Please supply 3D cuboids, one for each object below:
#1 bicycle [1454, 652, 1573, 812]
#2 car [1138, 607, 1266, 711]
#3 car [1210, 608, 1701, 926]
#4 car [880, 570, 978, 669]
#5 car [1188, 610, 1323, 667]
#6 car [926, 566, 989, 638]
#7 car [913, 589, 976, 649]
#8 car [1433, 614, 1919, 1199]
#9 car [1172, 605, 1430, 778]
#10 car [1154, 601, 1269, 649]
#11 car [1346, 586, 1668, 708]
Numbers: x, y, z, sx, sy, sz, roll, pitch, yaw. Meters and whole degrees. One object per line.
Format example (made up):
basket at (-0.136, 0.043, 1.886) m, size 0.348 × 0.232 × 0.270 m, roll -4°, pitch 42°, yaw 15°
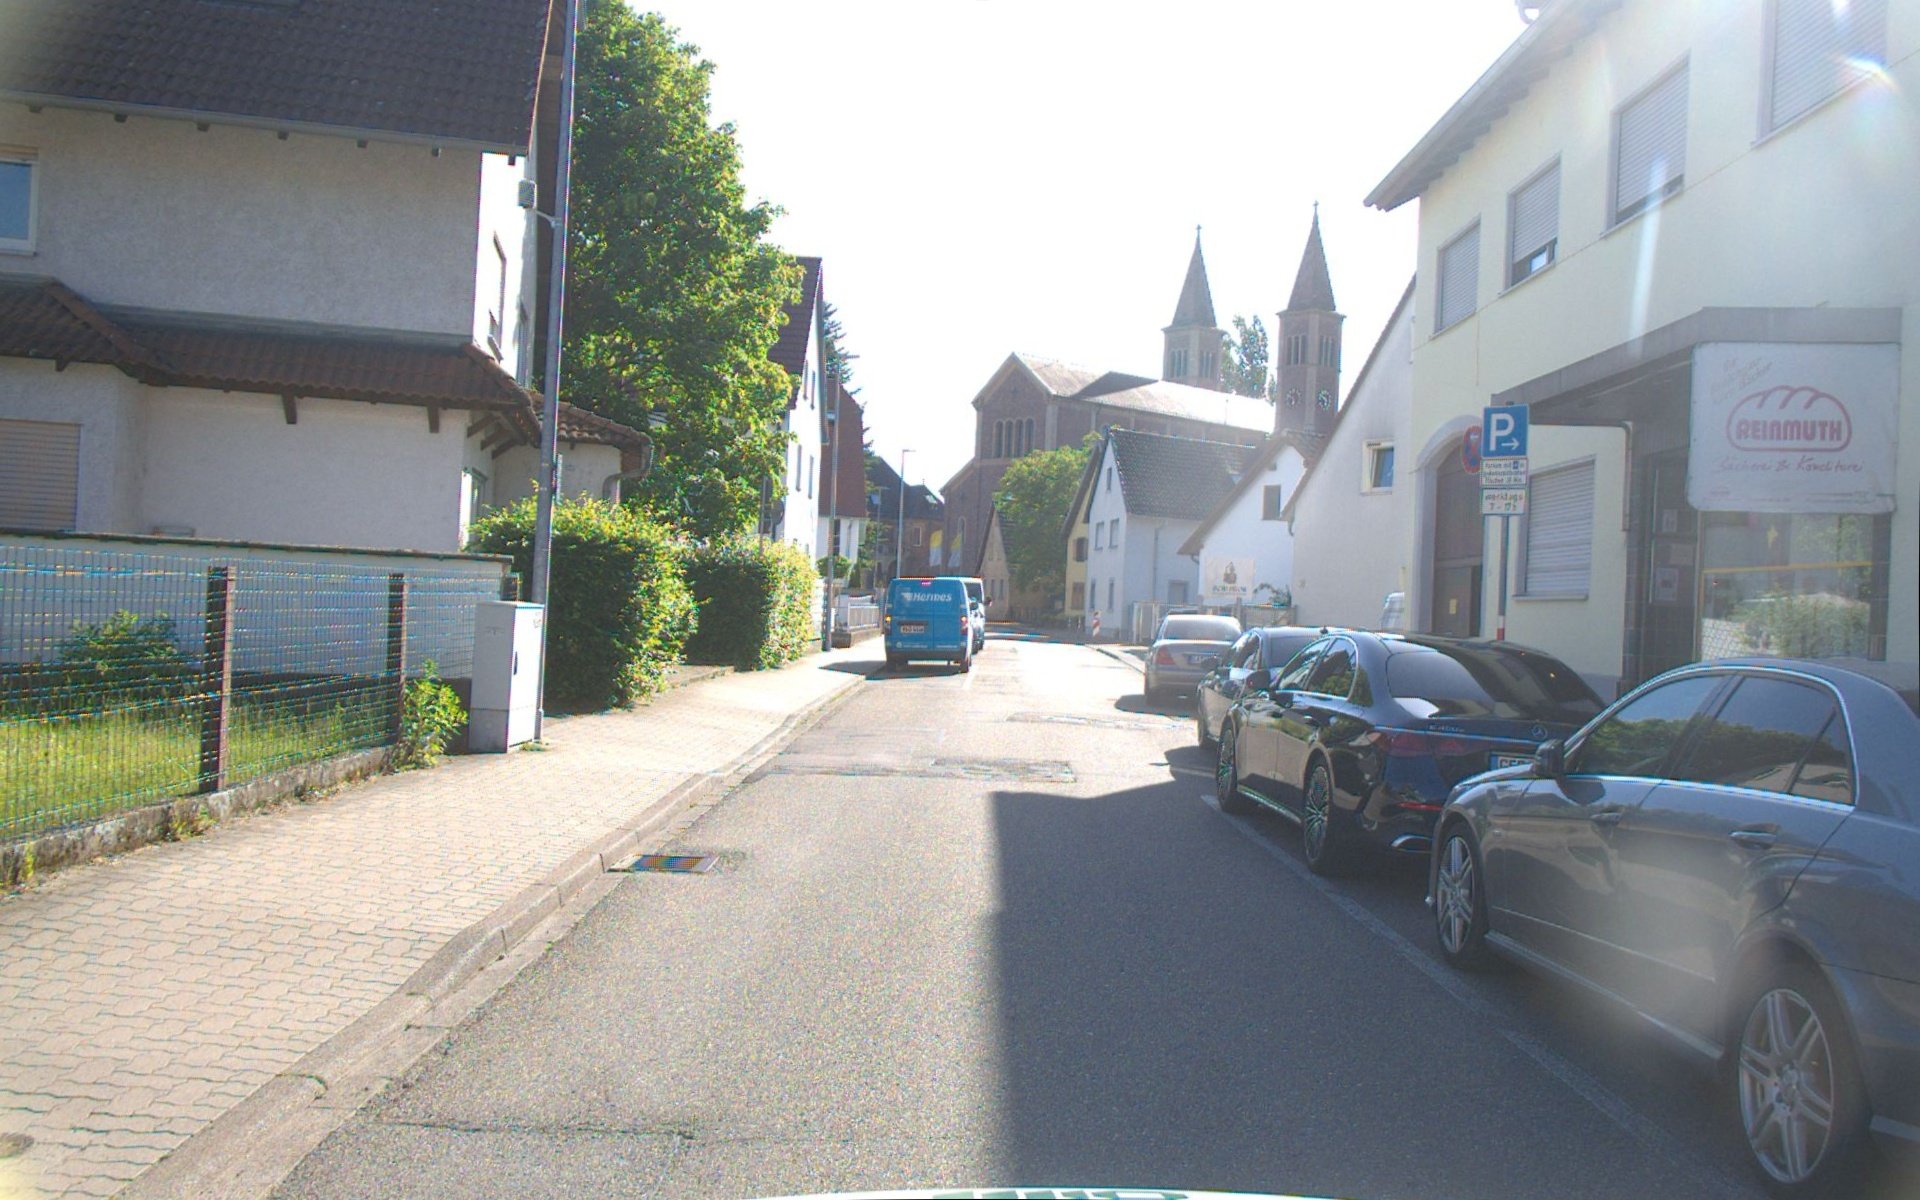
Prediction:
bicycle at (4.493, 1.041, 13.504) m, size 0.497 × 1.178 × 1.508 m, roll 1°, pitch 0°, yaw 2°
car at (3.978, 0.919, 27.837) m, size 1.773 × 1.501 × 4.662 m, roll 3°, pitch 0°, yaw 5°
car at (2.953, 0.884, 11.057) m, size 1.771 × 1.501 × 4.844 m, roll 4°, pitch 0°, yaw 0°
car at (-0.605, 0.390, 35.910) m, size 1.863 × 1.951 × 5.071 m, roll 1°, pitch 0°, yaw 1°
car at (9.665, 1.263, 54.102) m, size 3.988 × 1.718 × 1.895 m, roll 2°, pitch 0°, yaw -27°
car at (-0.041, 0.069, 59.961) m, size 2.151 × 2.432 × 6.065 m, roll 1°, pitch 0°, yaw 1°
car at (-0.406, 0.532, 48.080) m, size 1.679 × 1.626 × 3.925 m, roll 2°, pitch 0°, yaw 1°
car at (3.141, 0.883, 5.458) m, size 1.772 × 1.501 × 4.444 m, roll 4°, pitch 0°, yaw -1°
car at (3.550, 0.878, 18.123) m, size 1.771 × 1.501 × 4.844 m, roll 4°, pitch 0°, yaw 0°
car at (8.736, 0.850, 57.342) m, size 3.829 × 1.518 × 1.848 m, roll 2°, pitch 0°, yaw 10°
car at (8.917, 0.740, 27.155) m, size 4.670 × 1.919 × 1.906 m, roll 0°, pitch 0°, yaw -6°
